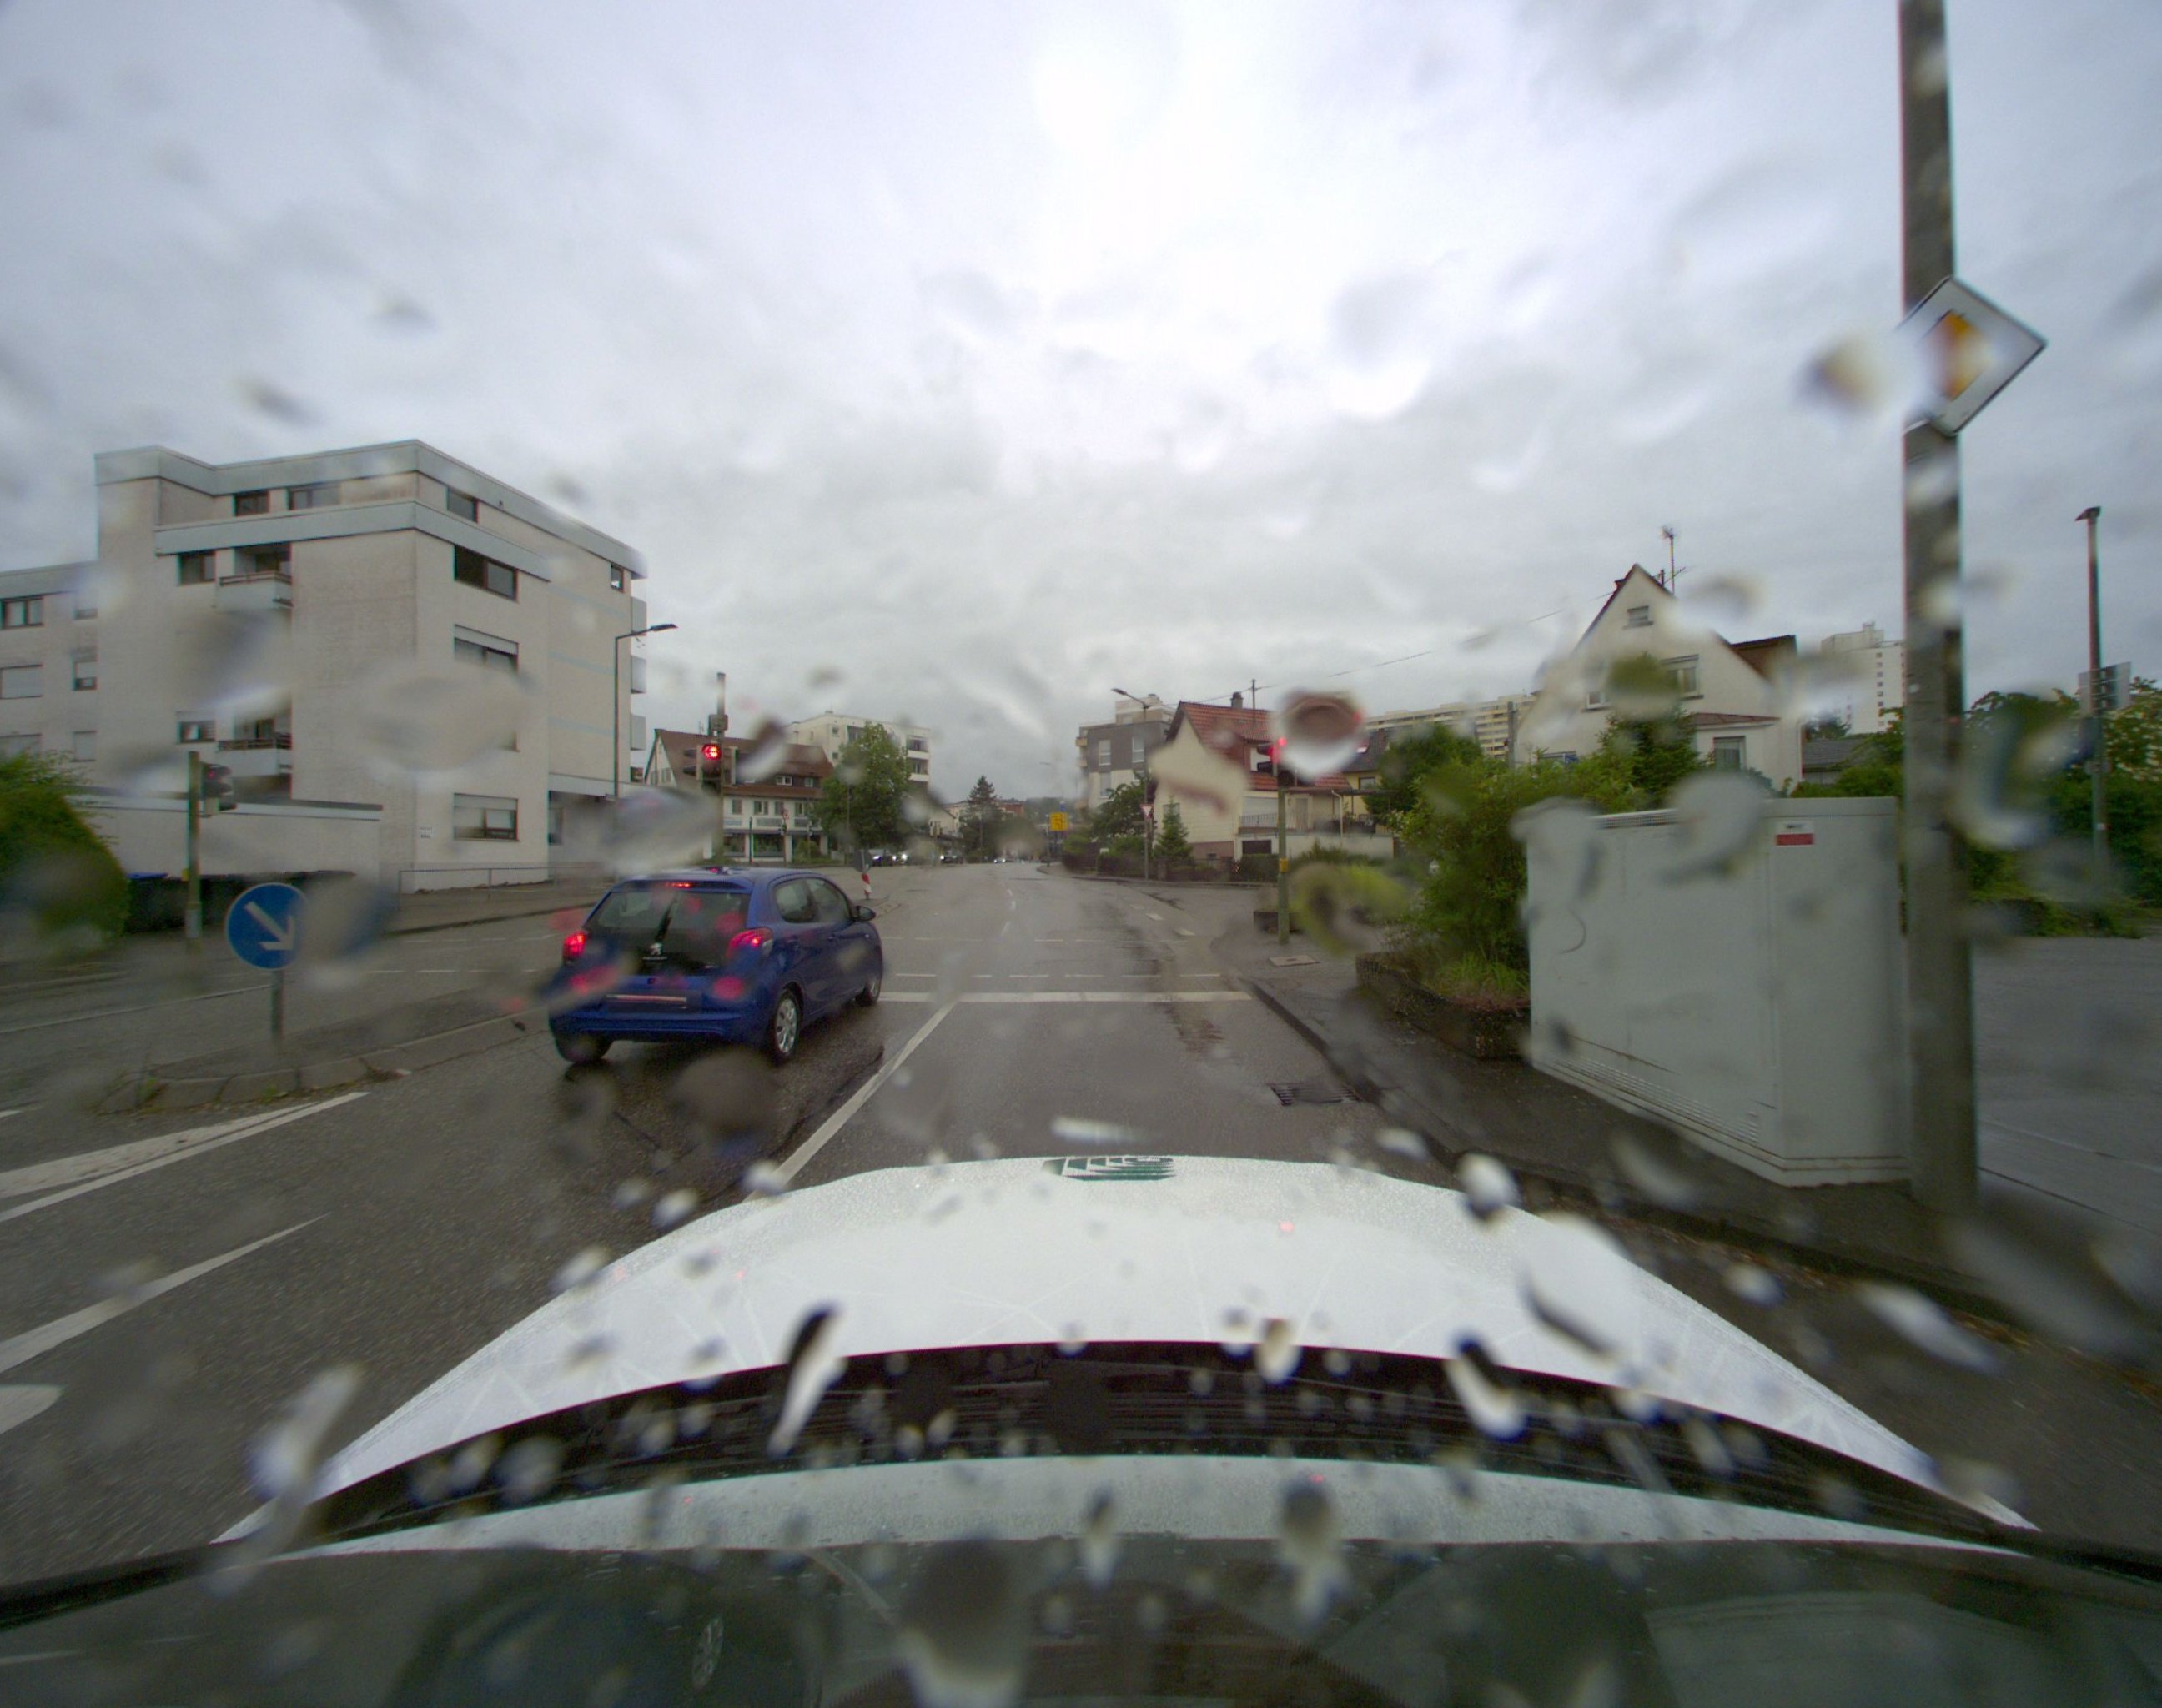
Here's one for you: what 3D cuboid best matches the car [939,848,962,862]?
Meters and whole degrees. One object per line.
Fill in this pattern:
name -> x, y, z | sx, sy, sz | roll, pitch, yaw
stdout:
car -> -14.379, 0.116, 89.884 | 1.772, 1.420, 3.831 | 0, 1, 1

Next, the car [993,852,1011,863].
car -> -13.874, 0.635, 142.614 | 1.741, 1.815, 3.879 | 0, 1, 18

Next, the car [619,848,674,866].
car -> -39.058, 0.268, 73.208 | 3.989, 1.572, 1.850 | -1, 1, -43

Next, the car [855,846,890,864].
car -> -16.636, 0.059, 65.129 | 1.772, 1.420, 3.831 | 0, 1, 1

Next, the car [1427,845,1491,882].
car -> 16.935, 0.385, 36.361 | 1.723, 1.514, 4.025 | 0, 1, 38

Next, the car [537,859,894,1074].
car -> -2.857, 0.772, 7.160 | 1.573, 1.410, 3.271 | 0, 0, 1

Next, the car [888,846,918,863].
car -> -15.812, 0.015, 72.384 | 1.709, 1.387, 4.021 | 0, 1, 1

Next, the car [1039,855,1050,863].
car -> -7.078, 0.885, 157.408 | 1.806, 1.486, 4.191 | -1, 0, 2

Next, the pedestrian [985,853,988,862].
pedestrian -> -17.047, 0.668, 147.137 | 0.494, 1.658, 0.435 | 0, 0, 12
